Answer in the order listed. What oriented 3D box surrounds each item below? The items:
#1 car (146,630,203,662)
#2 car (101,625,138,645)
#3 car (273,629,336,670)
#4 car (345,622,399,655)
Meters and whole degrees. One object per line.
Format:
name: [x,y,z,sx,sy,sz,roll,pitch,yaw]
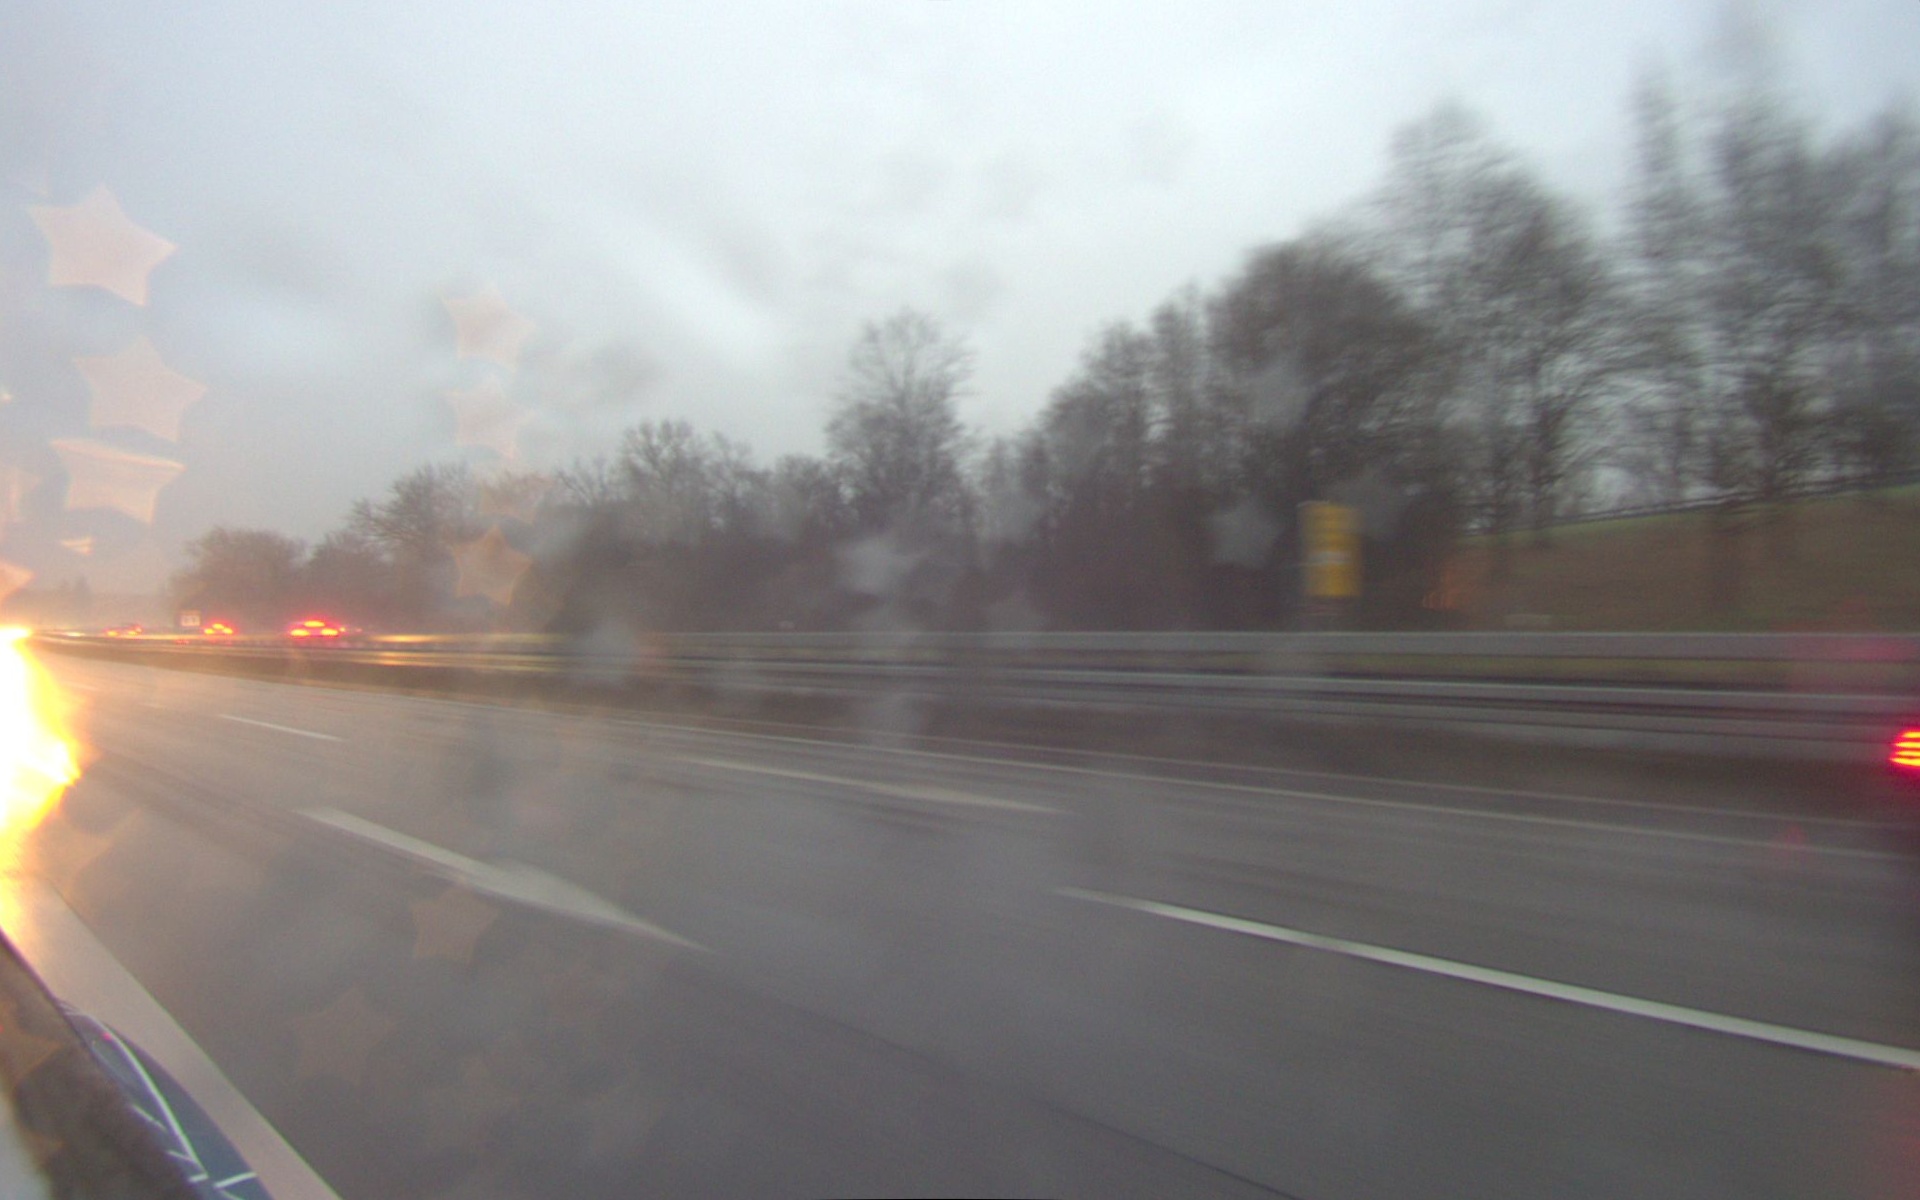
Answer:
car: [-44.608,2.598,57.442,4.380,1.697,1.855,-3,-2,42]
car: [-68.012,2.793,81.843,3.842,1.386,1.759,0,1,42]
car: [-36.146,2.677,55.792,4.000,2.029,1.972,0,1,43]
car: [-38.433,2.515,66.129,4.000,2.029,1.972,-3,-2,43]
